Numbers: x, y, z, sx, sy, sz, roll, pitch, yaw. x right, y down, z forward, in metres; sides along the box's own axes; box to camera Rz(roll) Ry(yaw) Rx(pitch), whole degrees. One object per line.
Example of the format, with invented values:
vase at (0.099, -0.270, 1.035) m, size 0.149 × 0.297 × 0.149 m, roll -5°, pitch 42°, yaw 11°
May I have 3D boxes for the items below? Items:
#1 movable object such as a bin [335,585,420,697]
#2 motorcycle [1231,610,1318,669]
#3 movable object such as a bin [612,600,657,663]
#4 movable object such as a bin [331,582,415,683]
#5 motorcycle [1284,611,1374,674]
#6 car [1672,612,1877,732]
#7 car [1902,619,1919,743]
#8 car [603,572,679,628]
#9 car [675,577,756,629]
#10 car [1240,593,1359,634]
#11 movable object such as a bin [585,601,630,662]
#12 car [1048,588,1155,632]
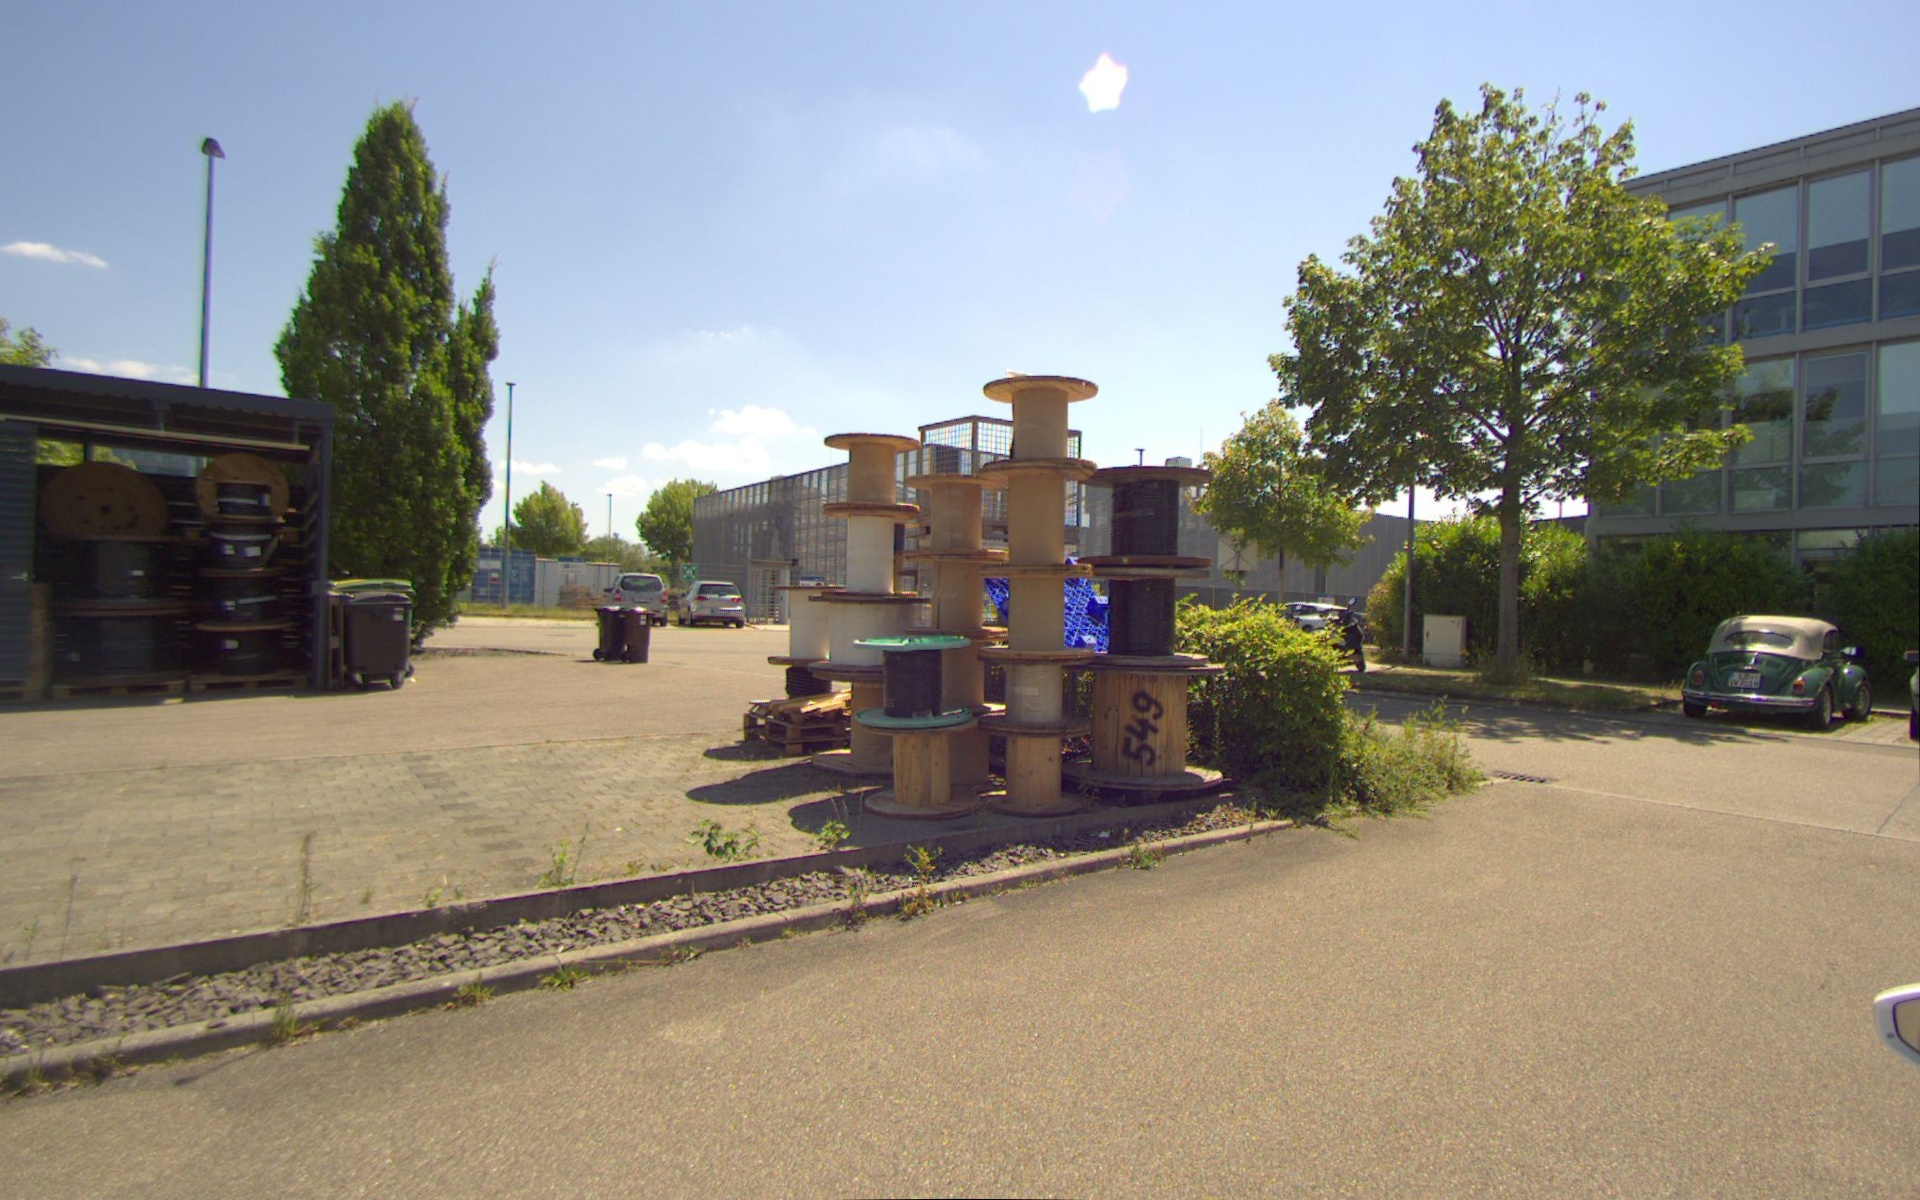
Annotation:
movable object such as a bin at (-7.361, 0.503, 12.710) m, size 0.874 × 1.362 × 0.807 m, roll 1°, pitch 0°, yaw -31°
motorcycle at (6.463, 0.792, 20.594) m, size 1.939 × 1.153 × 0.708 m, roll 0°, pitch 0°, yaw -38°
movable object such as a bin at (-5.589, 0.538, 17.262) m, size 0.567 × 1.050 × 0.425 m, roll 1°, pitch 0°, yaw 20°
movable object such as a bin at (-8.103, 0.439, 13.882) m, size 0.962 × 1.347 × 0.704 m, roll 1°, pitch 0°, yaw -31°
motorcycle at (7.205, 0.802, 19.571) m, size 1.939 × 1.153 × 0.708 m, roll 0°, pitch 0°, yaw -38°
car at (11.732, 0.933, 14.410) m, size 3.622 × 1.468 × 1.529 m, roll 1°, pitch 1°, yaw -39°
car at (13.305, 1.007, 12.716) m, size 3.627 × 1.468 × 1.715 m, roll 0°, pitch 1°, yaw -43°
car at (-10.264, -0.027, 32.152) m, size 1.971 × 1.611 × 3.978 m, roll 3°, pitch 0°, yaw -22°
car at (-8.055, 0.050, 32.851) m, size 1.971 × 1.511 × 3.978 m, roll 3°, pitch 0°, yaw -22°
car at (13.971, 0.519, 41.633) m, size 1.971 × 1.511 × 4.828 m, roll 1°, pitch 1°, yaw -22°
movable object such as a bin at (-6.135, 0.543, 17.474) m, size 0.570 × 1.041 × 0.425 m, roll 1°, pitch 0°, yaw 20°
car at (5.198, 0.334, 37.558) m, size 1.971 × 1.511 × 4.490 m, roll 1°, pitch 1°, yaw -22°
